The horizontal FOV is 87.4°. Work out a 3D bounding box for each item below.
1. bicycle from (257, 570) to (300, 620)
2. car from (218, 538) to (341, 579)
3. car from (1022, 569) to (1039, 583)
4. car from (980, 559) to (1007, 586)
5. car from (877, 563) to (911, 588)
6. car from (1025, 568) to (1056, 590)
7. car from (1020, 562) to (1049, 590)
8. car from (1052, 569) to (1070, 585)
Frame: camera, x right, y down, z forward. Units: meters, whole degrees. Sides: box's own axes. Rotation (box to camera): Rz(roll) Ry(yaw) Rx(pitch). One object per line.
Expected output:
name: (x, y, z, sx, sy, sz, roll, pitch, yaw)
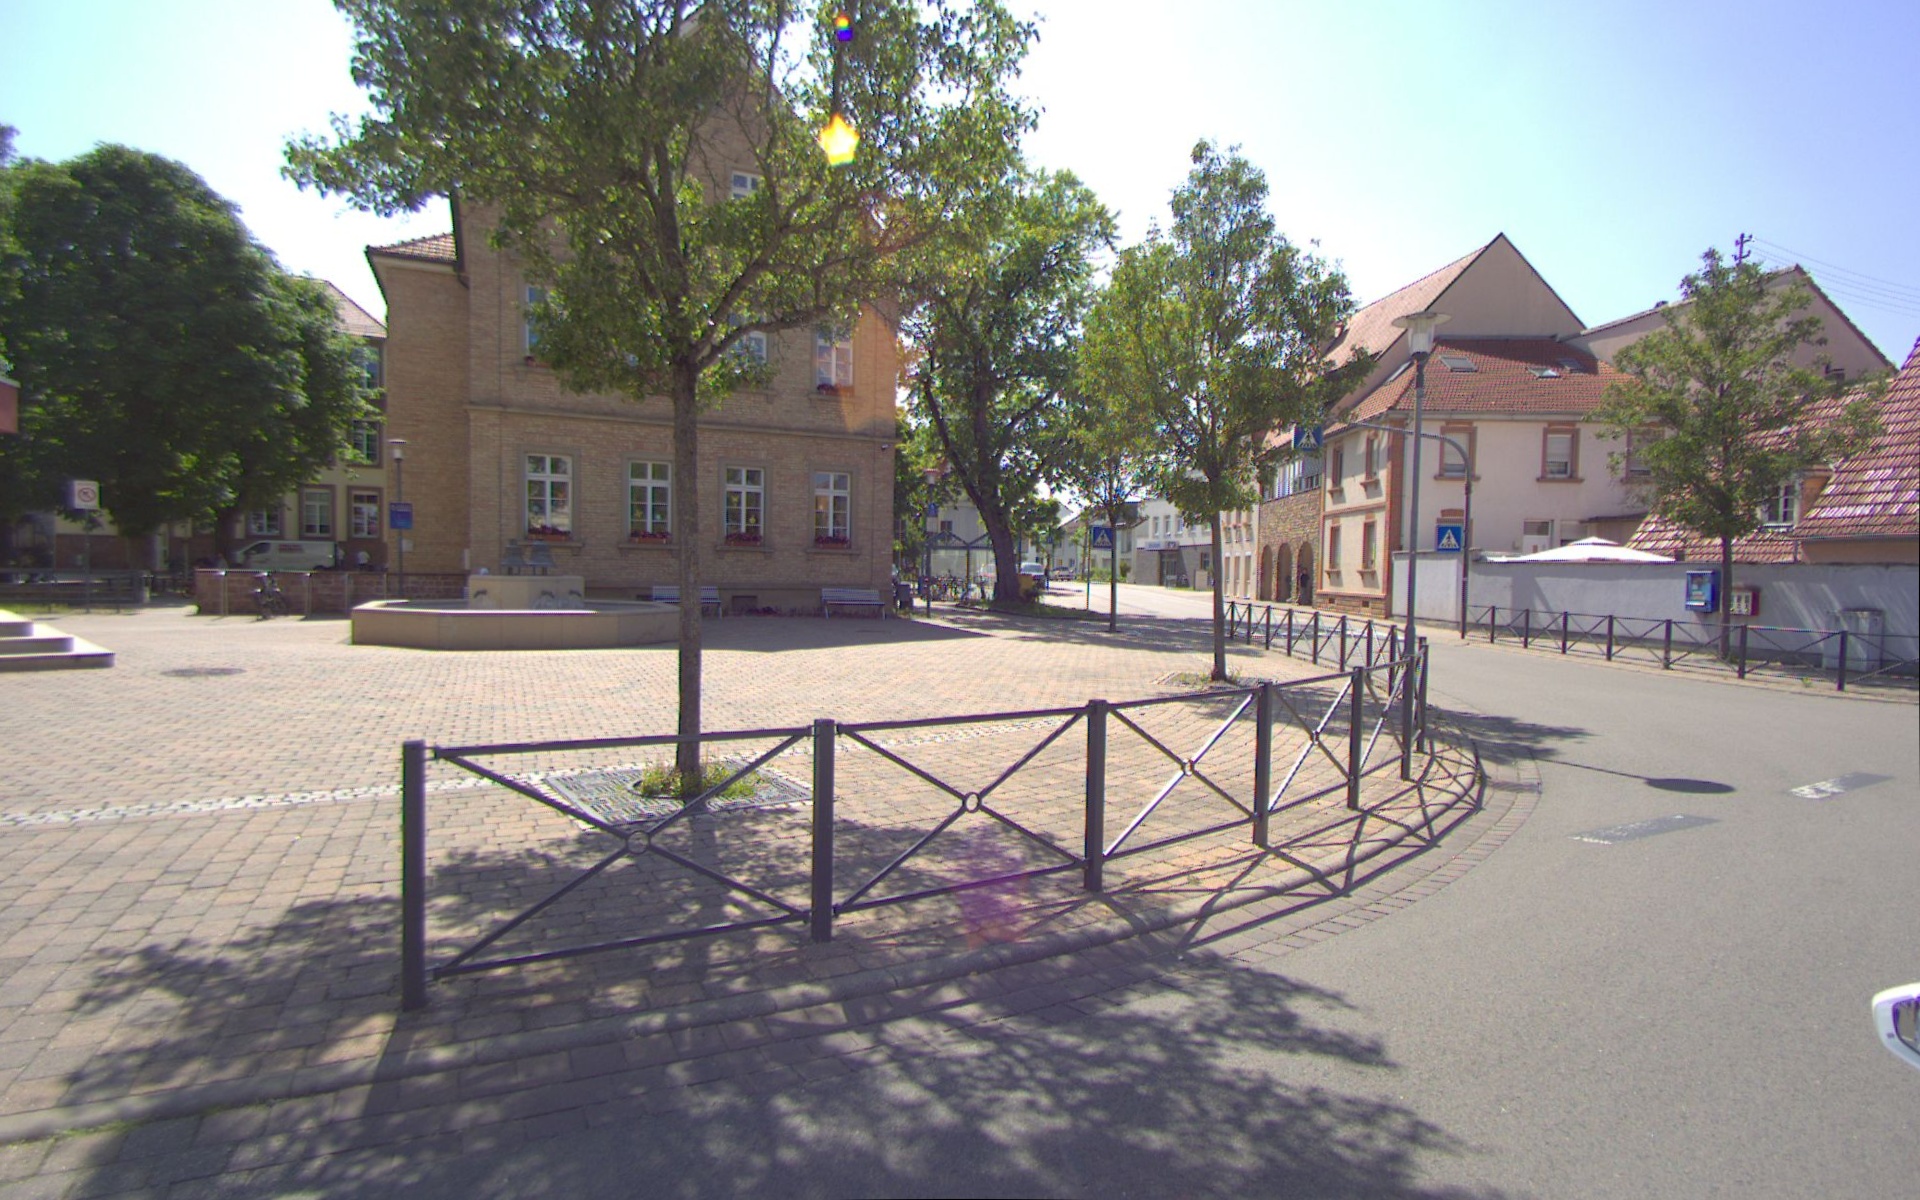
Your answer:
bicycle: (-15.679, -0.133, 23.142, 0.573, 1.019, 1.940, 0, 4, -27)
car: (-35.571, -2.138, 52.686, 5.218, 1.963, 1.983, 0, 1, -31)
car: (9.177, -3.162, 131.060, 1.748, 1.715, 3.997, 1, 1, -4)
car: (2.275, -1.877, 69.281, 1.746, 1.818, 4.000, 1, 1, 1)
car: (-4.542, -1.704, 68.586, 1.963, 1.638, 3.993, 1, 2, -8)
car: (6.321, -1.627, 79.512, 1.748, 1.668, 3.996, 1, 1, -6)
car: (5.093, -1.634, 69.083, 1.746, 1.818, 4.000, 2, 2, 2)
car: (11.778, -2.675, 117.163, 1.746, 1.804, 4.000, 1, 1, 1)
